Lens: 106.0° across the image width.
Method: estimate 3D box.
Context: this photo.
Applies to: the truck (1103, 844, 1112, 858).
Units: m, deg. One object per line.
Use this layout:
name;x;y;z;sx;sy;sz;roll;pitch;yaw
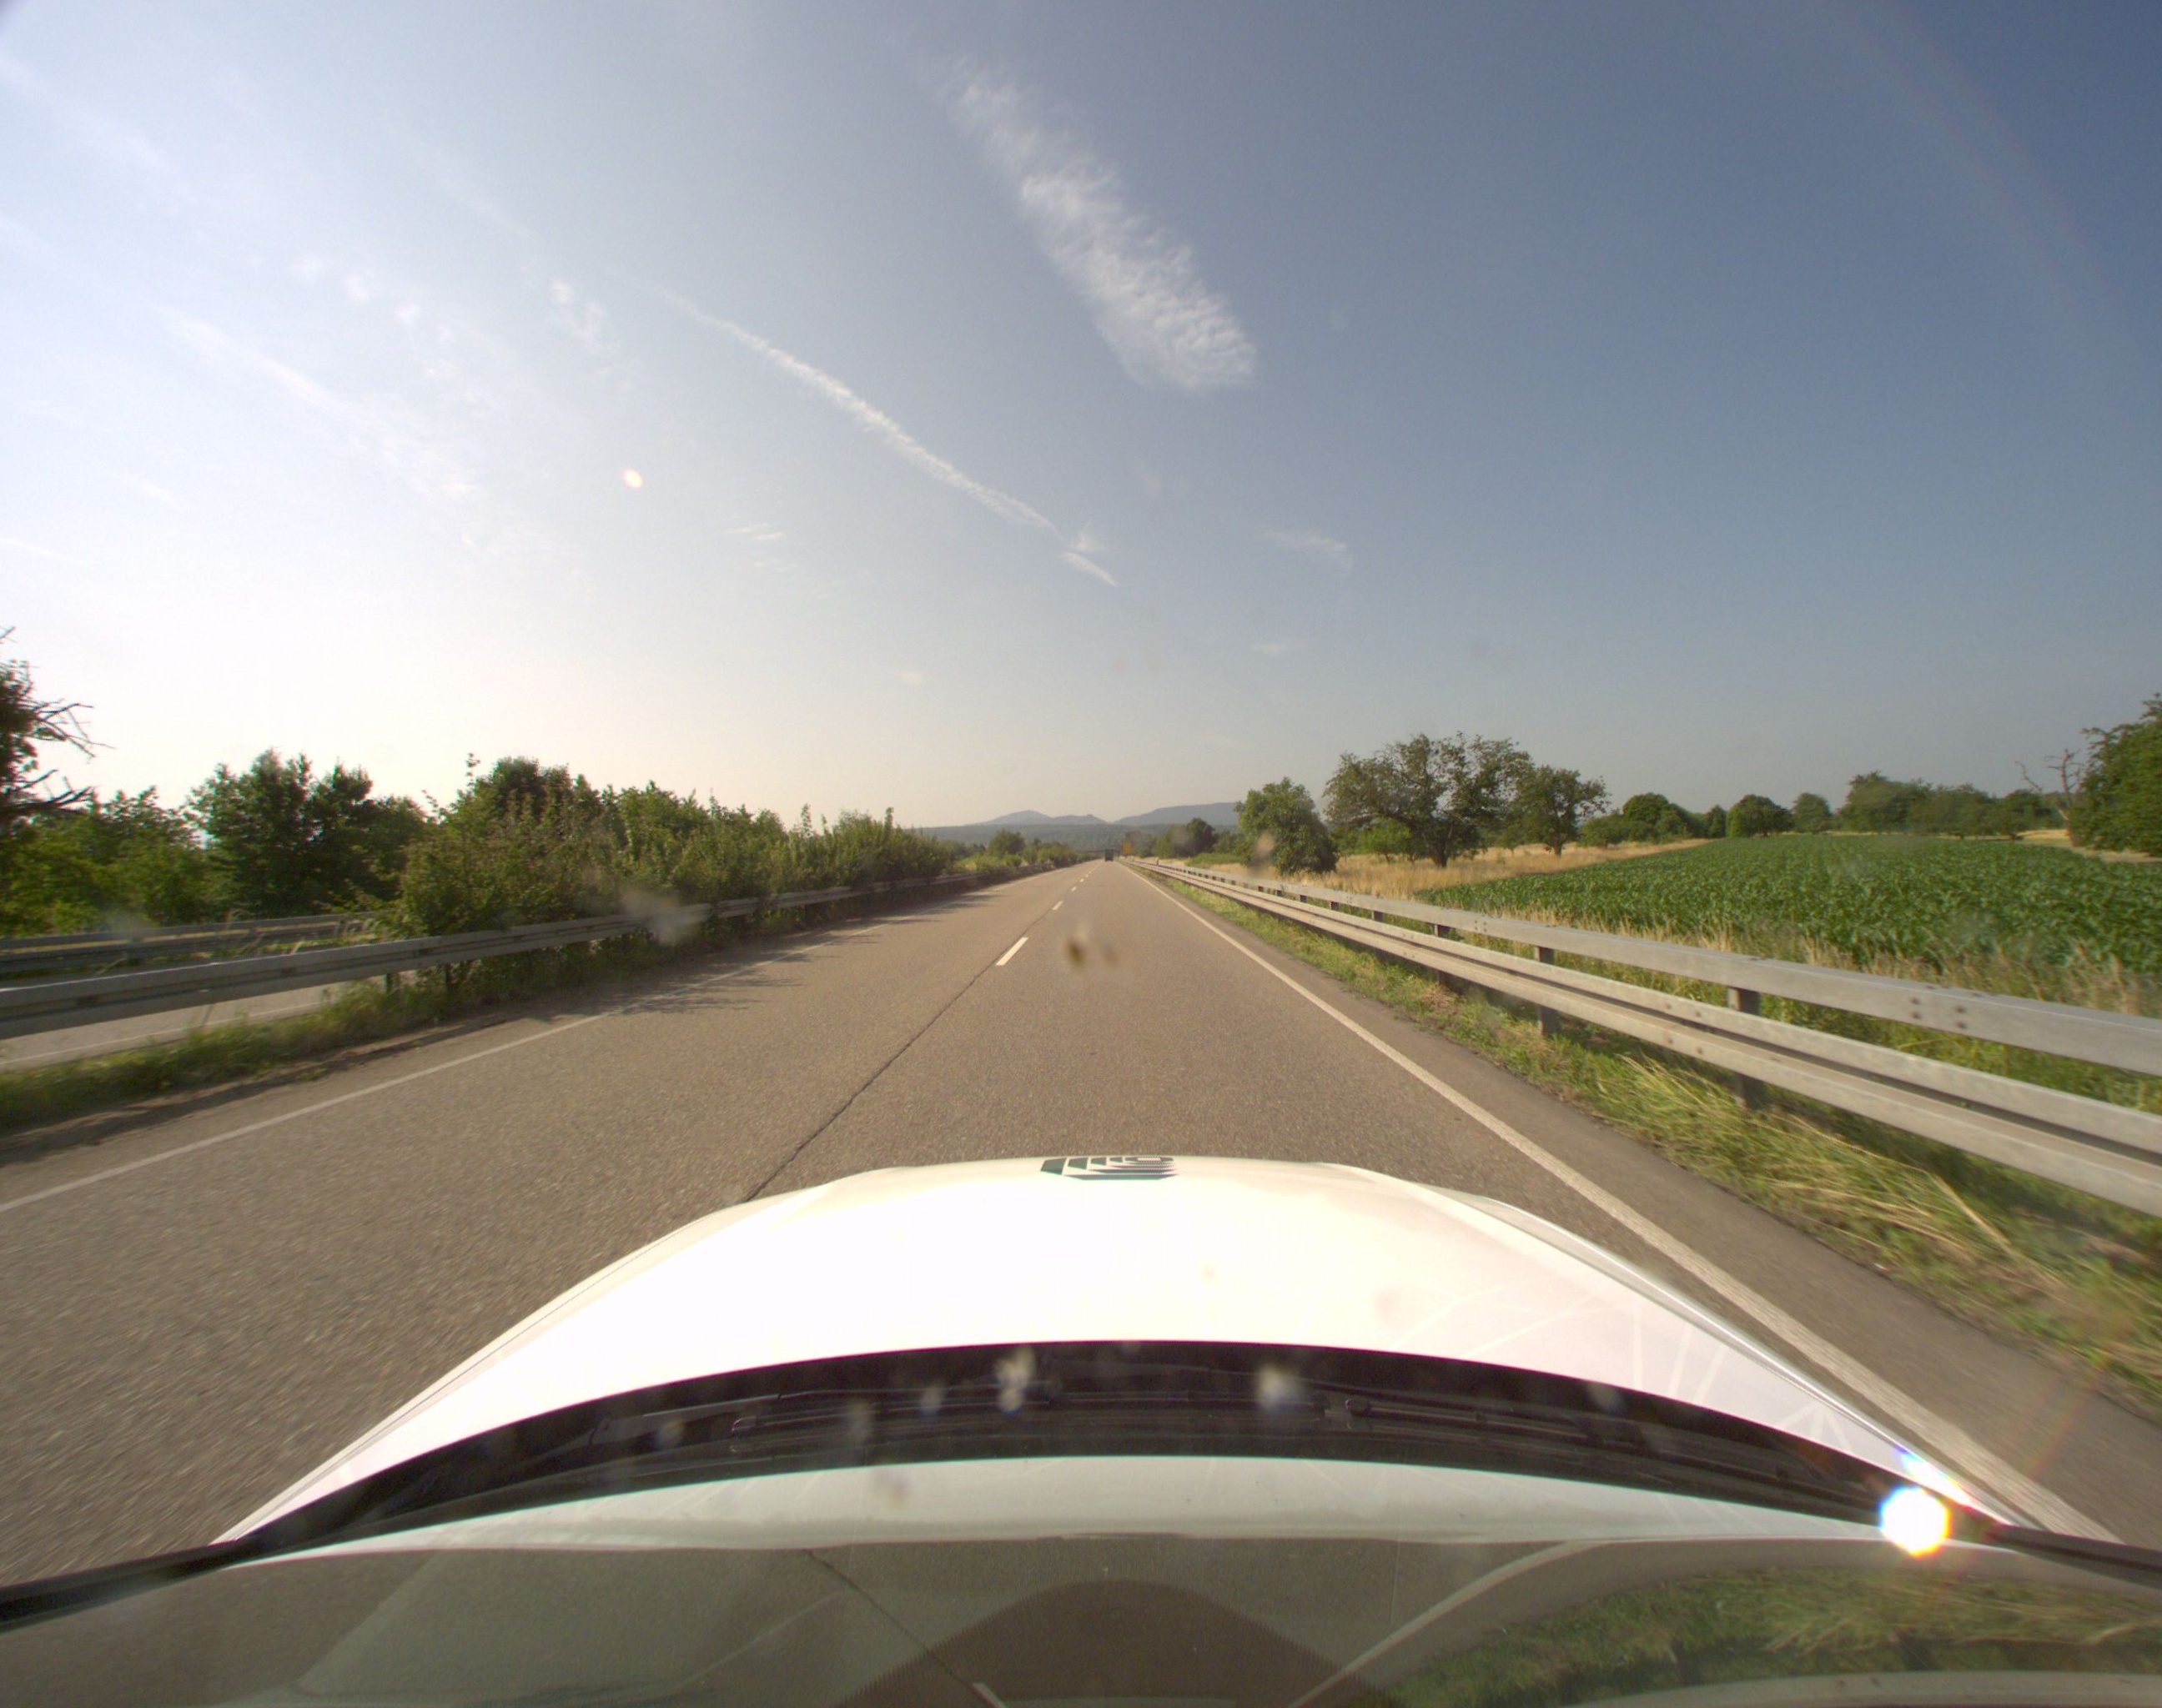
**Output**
truck;8.052;-0.870;245.281;2.711;3.965;10.422;-1;1;2
